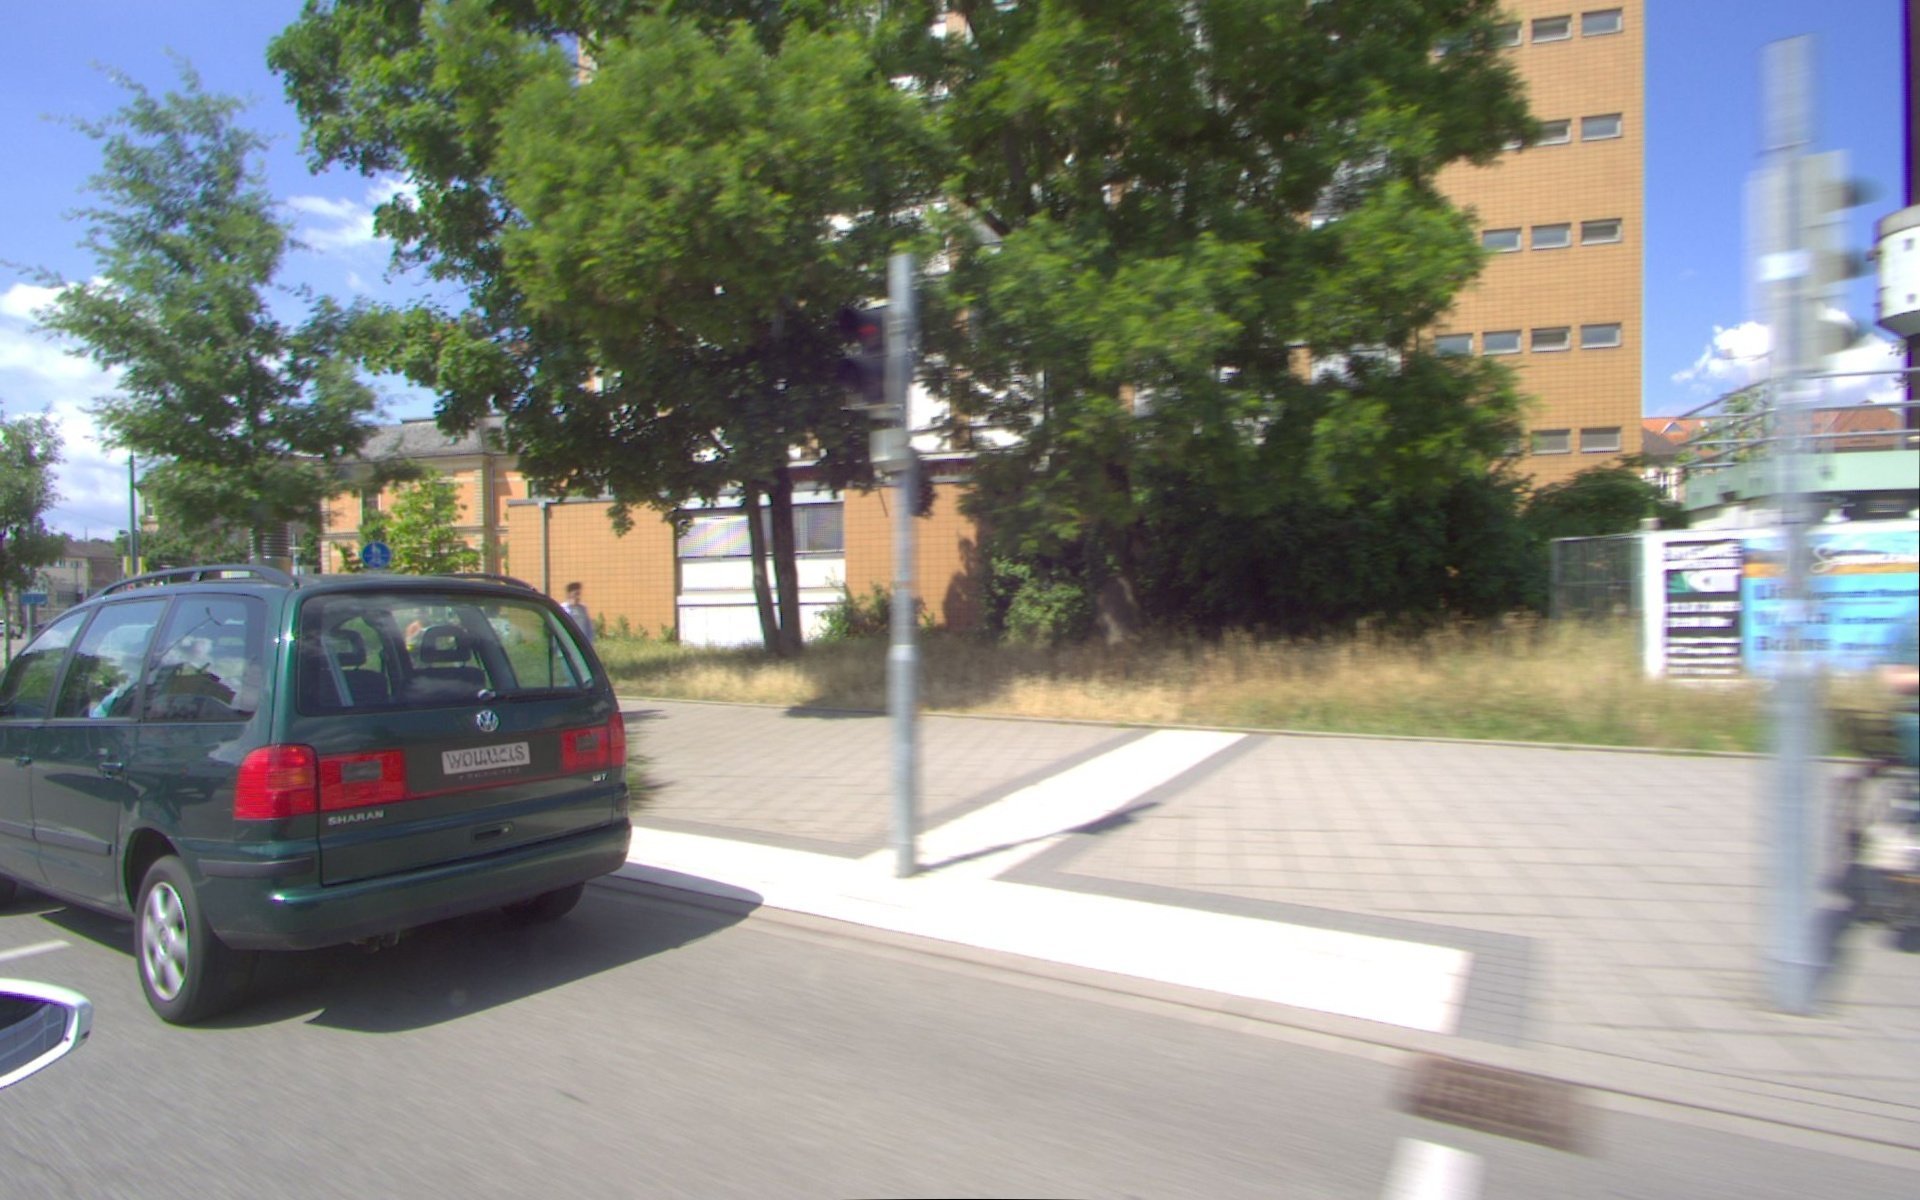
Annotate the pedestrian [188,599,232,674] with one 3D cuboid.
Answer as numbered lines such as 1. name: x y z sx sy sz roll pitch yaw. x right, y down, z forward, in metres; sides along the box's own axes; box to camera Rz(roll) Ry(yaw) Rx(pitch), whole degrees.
1. pedestrian: -18.850 0.912 25.171 0.666 1.844 0.753 -2 -1 39

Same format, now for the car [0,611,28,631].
1. car: -82.207 1.823 86.346 1.861 1.663 3.934 0 0 -32

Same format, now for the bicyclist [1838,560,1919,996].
1. bicyclist: 3.990 0.656 3.951 0.570 1.623 0.827 -1 2 25

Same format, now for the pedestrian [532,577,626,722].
1. pedestrian: -5.058 0.640 13.316 0.767 1.846 0.756 -1 3 21

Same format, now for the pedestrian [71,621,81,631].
1. pedestrian: -84.199 2.450 95.368 0.519 0.918 1.552 0 -2 -32

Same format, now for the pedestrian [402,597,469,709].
1. pedestrian: -7.887 0.791 15.066 0.716 1.647 0.587 -1 -1 27

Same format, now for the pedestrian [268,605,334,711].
1. pedestrian: -10.785 0.929 16.384 0.766 1.648 0.646 -1 2 42

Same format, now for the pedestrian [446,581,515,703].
1. pedestrian: -7.515 0.655 15.706 0.628 1.844 0.756 -1 -1 27

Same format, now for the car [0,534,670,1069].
1. car: -3.704 0.725 5.248 4.386 1.745 1.791 -1 -2 34

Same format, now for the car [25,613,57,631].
1. car: -88.858 2.125 96.851 1.864 1.663 3.928 0 0 -36

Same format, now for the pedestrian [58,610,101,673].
1. pedestrian: -22.884 1.068 26.021 0.753 1.610 0.752 -2 -1 42

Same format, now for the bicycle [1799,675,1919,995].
1. bicycle: 4.008 0.924 3.971 0.582 1.064 1.808 -2 2 25

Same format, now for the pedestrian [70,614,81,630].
1. pedestrian: -84.209 2.066 95.362 0.685 1.476 0.676 0 -1 -32
